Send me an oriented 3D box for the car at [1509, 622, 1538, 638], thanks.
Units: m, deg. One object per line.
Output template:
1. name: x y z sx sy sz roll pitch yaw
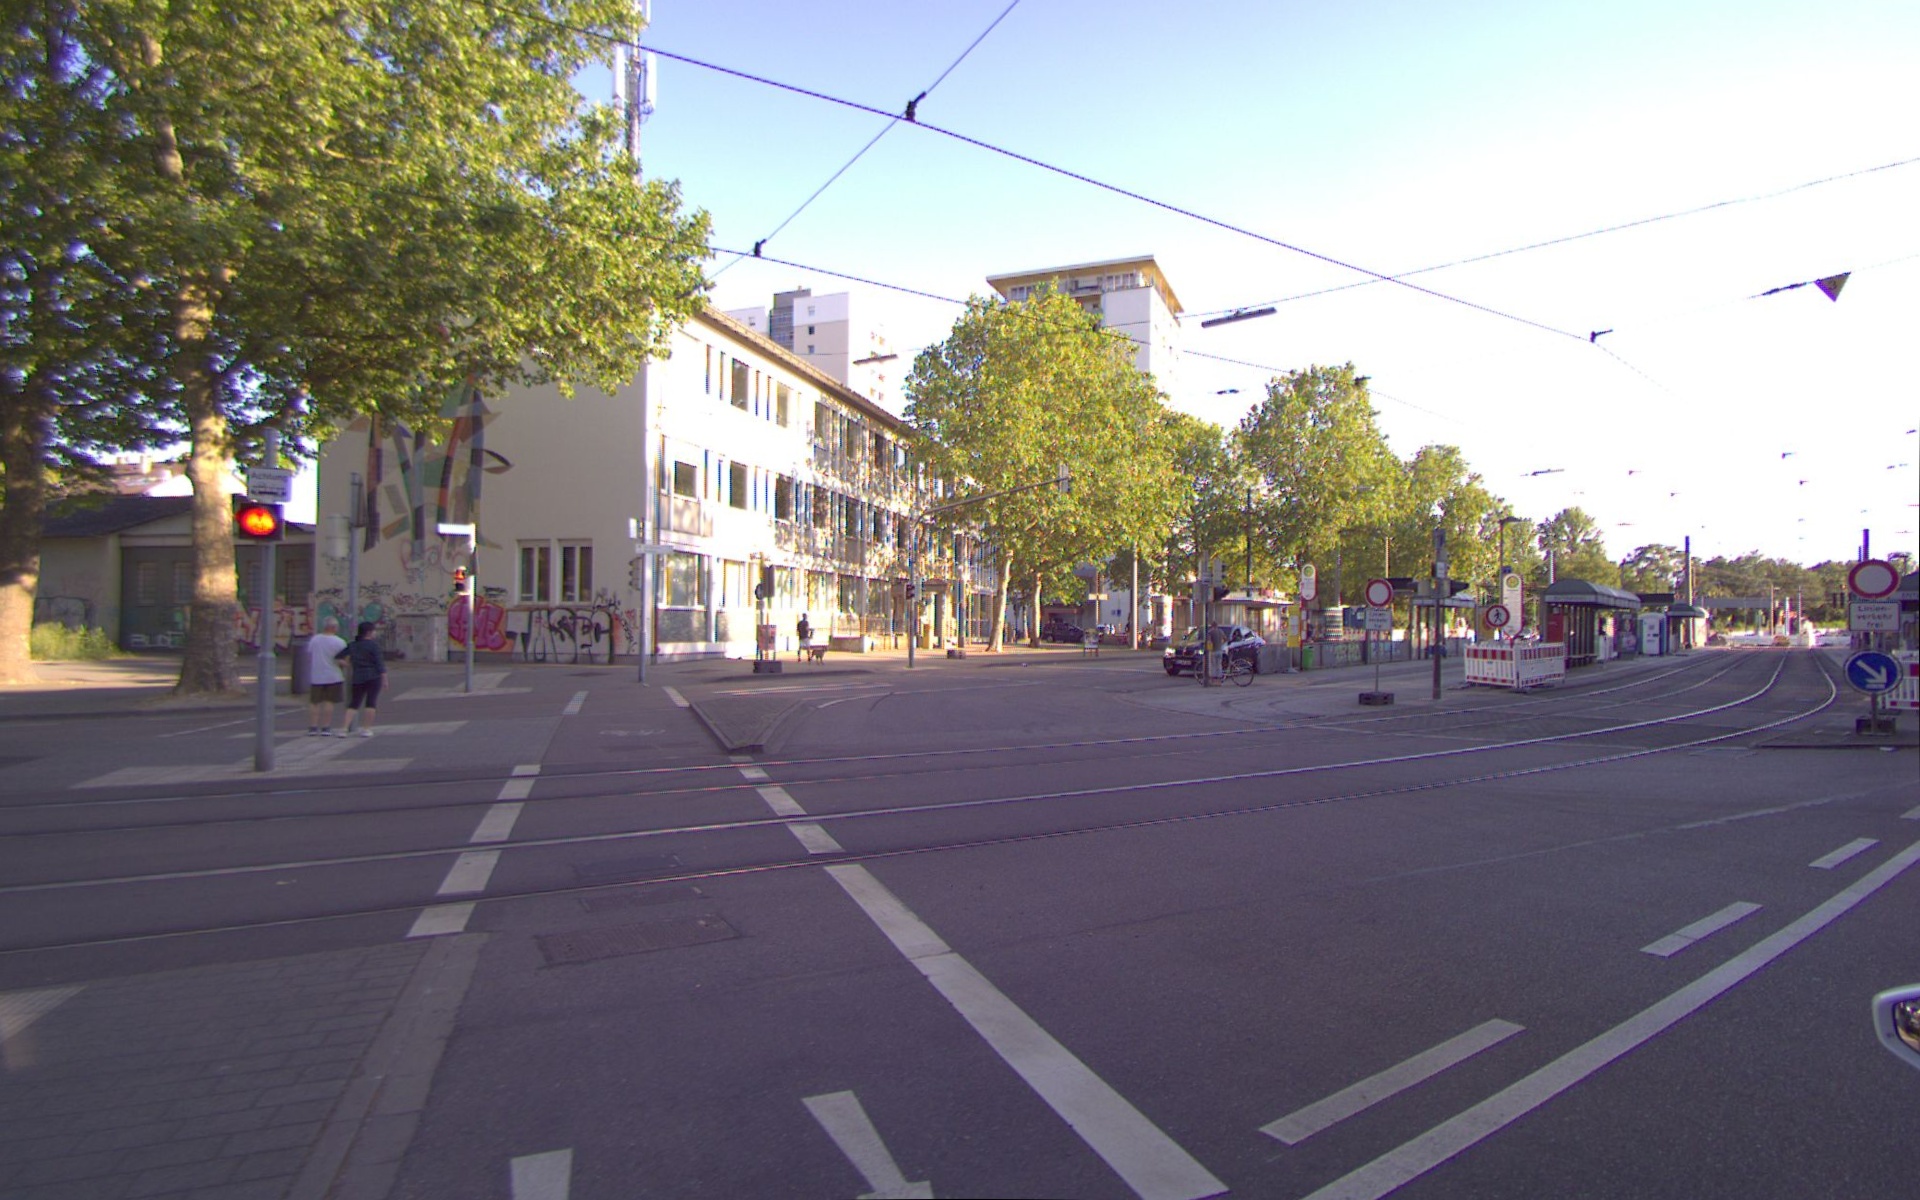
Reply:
1. car: 55.026 2.955 98.132 1.862 1.551 4.190 0 -2 38

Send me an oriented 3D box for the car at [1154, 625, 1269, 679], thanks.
1. car: 8.140 1.633 32.281 1.865 1.606 4.184 -1 -2 42

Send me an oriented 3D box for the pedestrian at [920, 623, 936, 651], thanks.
1. pedestrian: -1.651 1.920 52.298 0.663 1.414 0.693 1 1 15

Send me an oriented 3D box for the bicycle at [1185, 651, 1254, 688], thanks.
1. bicycle: 7.169 1.913 27.783 1.819 0.955 0.461 -1 -1 40

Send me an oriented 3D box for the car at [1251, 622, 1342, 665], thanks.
1. car: 13.083 1.663 38.951 1.865 1.551 4.184 -1 -2 42

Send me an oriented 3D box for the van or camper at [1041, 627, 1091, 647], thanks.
1. van or camper: 8.702 3.017 82.822 3.920 1.572 1.829 1 -1 1

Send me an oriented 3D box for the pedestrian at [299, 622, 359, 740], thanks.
1. pedestrian: -8.482 1.066 13.501 0.589 1.524 0.515 1 -1 -43

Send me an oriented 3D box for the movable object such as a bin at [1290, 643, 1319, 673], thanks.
1. movable object such as a bin: 11.160 1.871 32.522 0.663 0.878 0.698 2 1 43

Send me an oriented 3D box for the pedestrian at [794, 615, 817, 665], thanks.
1. pedestrian: -5.488 1.423 35.590 0.664 1.733 0.431 1 1 23

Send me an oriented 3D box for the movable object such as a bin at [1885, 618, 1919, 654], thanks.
1. movable object such as a bin: 67.556 2.539 71.490 2.467 2.509 5.325 0 -2 43

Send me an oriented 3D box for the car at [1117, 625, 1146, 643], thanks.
1. car: 16.974 3.325 99.305 1.961 1.586 3.998 1 1 23

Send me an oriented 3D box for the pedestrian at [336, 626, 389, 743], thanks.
1. pedestrian: -7.975 1.107 13.413 0.513 1.524 0.404 1 -1 -43

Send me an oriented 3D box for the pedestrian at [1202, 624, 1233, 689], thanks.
1. pedestrian: 7.004 1.520 27.362 0.711 1.748 0.397 0 -1 40

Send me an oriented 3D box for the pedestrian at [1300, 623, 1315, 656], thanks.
1. pedestrian: 21.898 2.467 63.257 0.698 2.040 0.741 0 -1 34

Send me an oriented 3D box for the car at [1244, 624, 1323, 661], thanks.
1. car: 14.603 1.880 45.273 1.865 1.551 4.184 -1 -2 42
